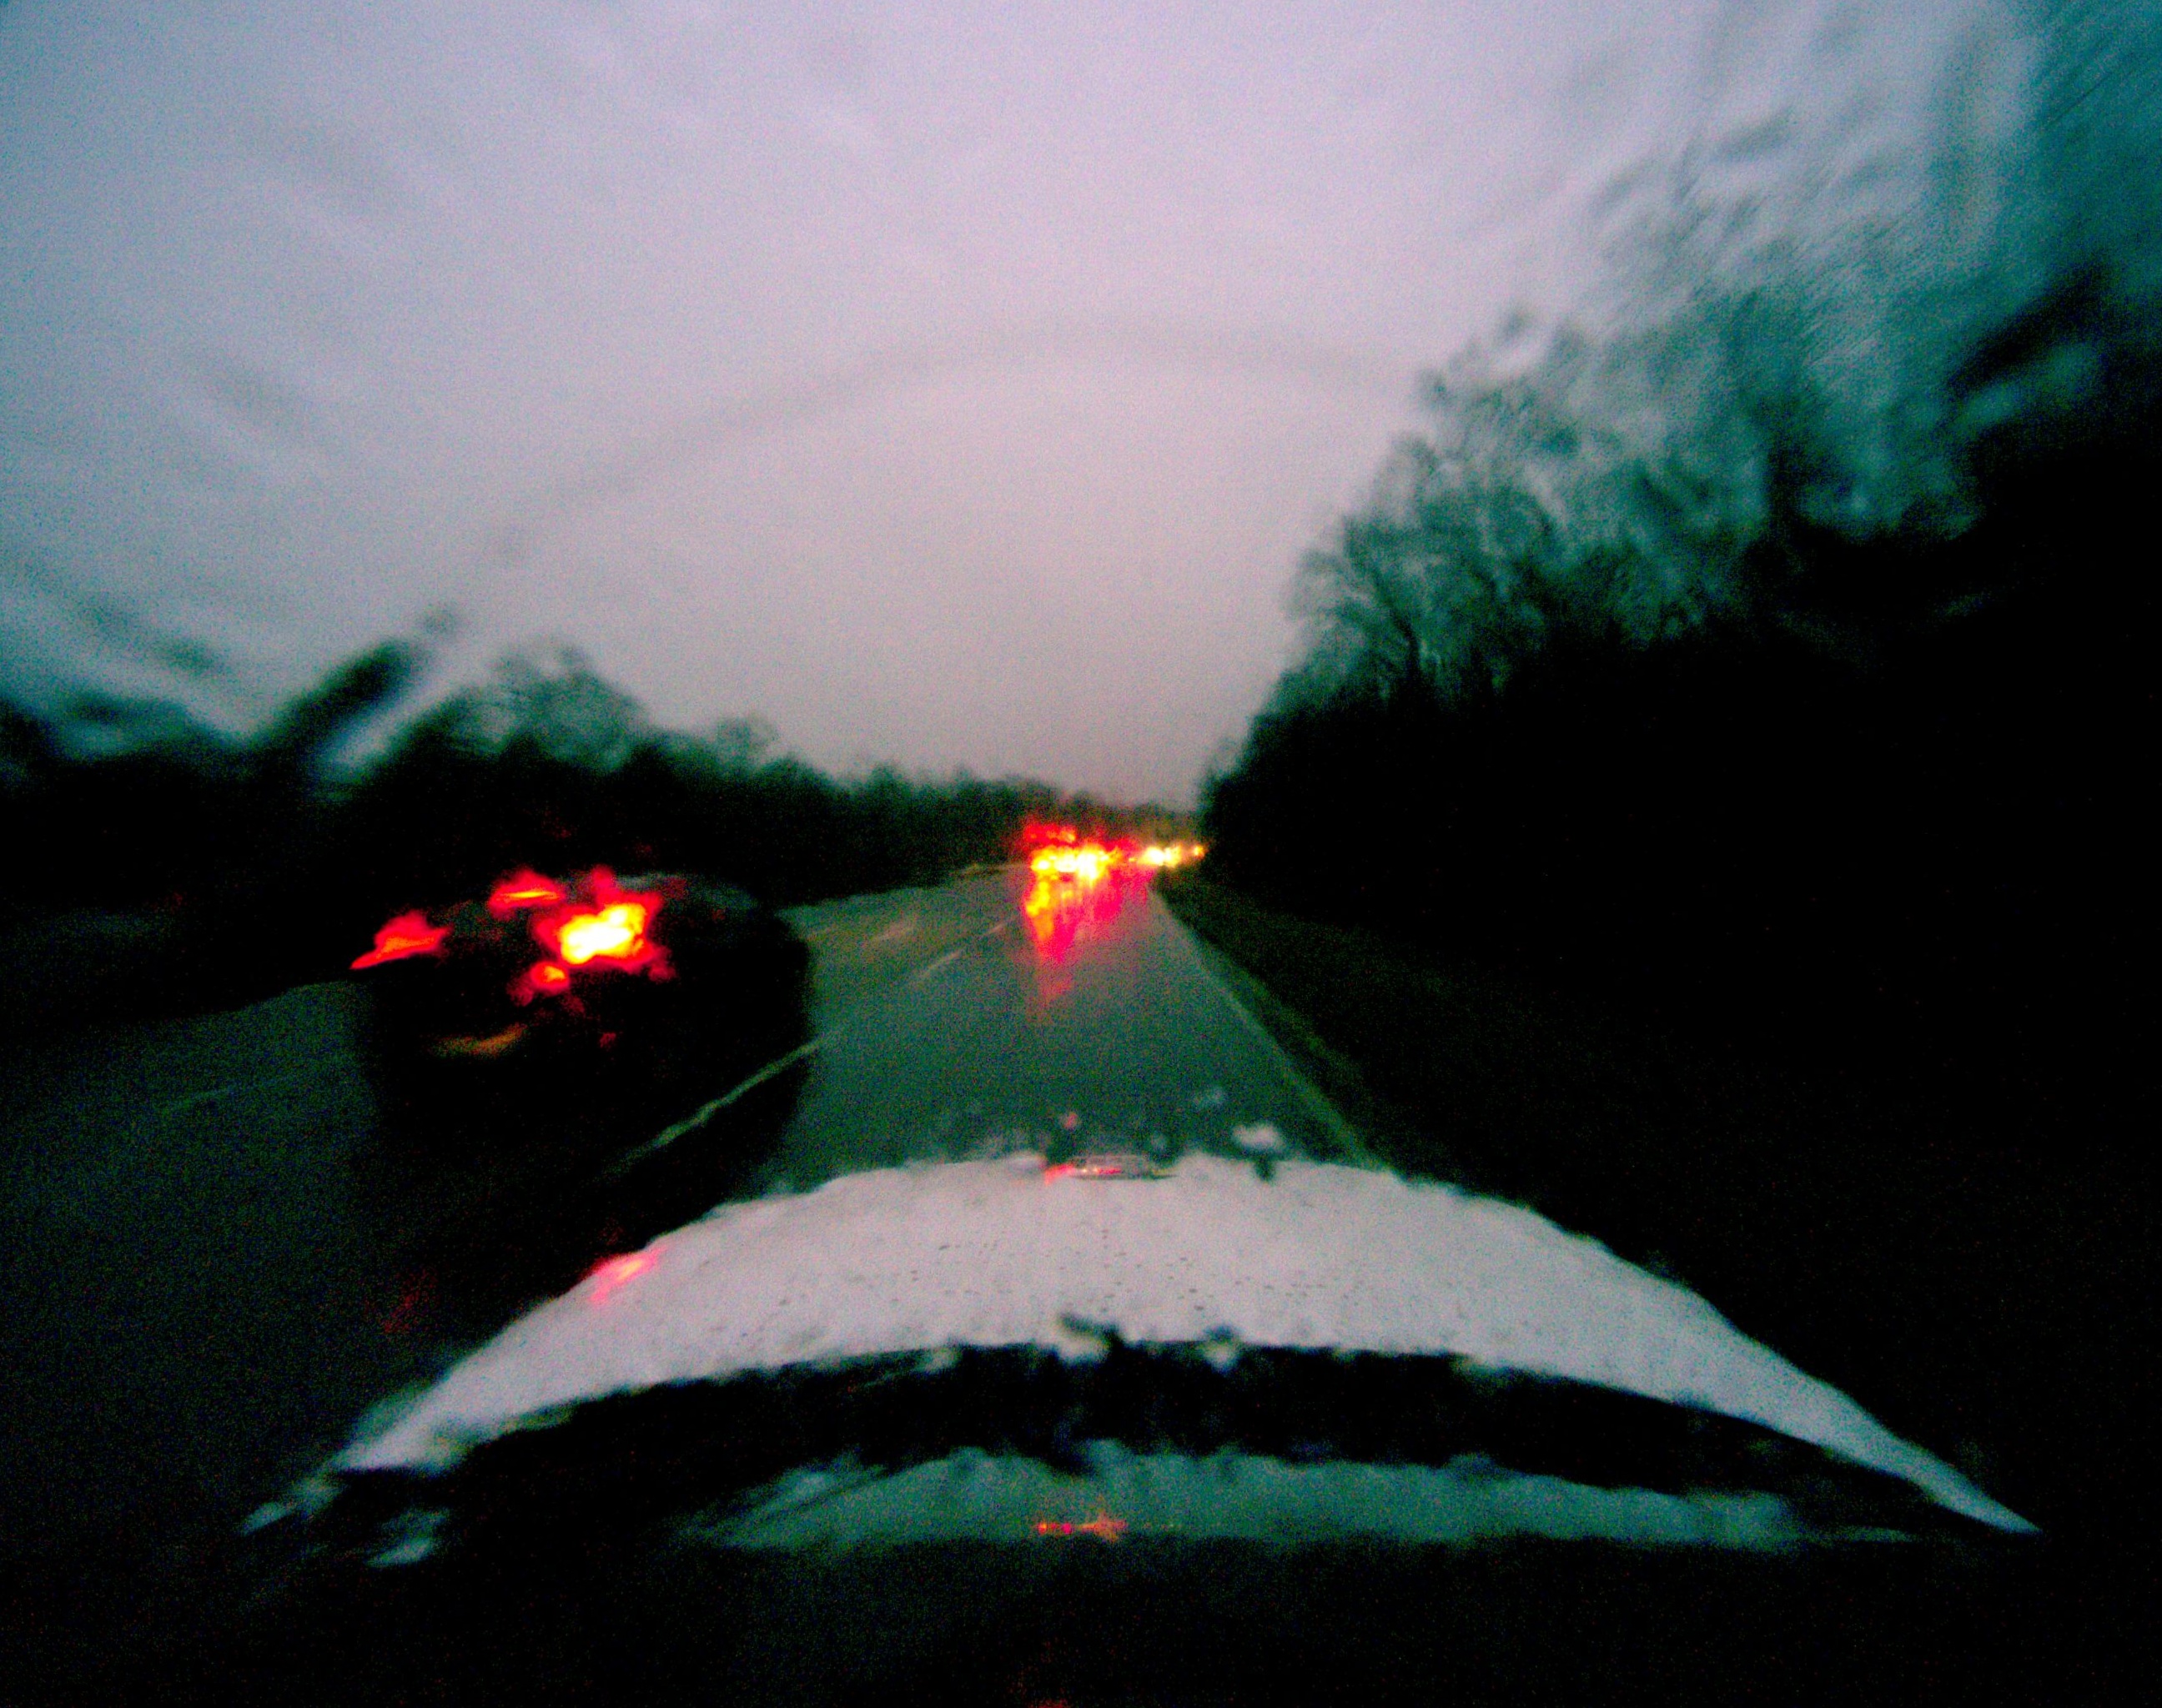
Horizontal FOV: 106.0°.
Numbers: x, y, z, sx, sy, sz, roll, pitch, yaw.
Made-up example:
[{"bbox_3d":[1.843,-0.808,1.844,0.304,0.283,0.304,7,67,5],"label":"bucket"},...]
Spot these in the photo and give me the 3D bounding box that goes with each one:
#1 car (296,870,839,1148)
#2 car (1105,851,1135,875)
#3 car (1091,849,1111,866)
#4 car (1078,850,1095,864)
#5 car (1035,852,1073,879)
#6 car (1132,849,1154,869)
[{"bbox_3d":[-3.397,0.881,6.495,1.626,1.421,4.171,0,0,1],"label":"car"},{"bbox_3d":[2.570,0.545,53.041,1.670,1.389,4.104,-2,1,5],"label":"car"},{"bbox_3d":[2.018,0.337,82.259,1.704,1.627,4.225,-1,0,6],"label":"car"},{"bbox_3d":[0.655,0.386,96.020,1.638,1.556,4.386,-1,0,5],"label":"car"},{"bbox_3d":[-1.622,0.698,50.341,1.997,1.556,4.520,-1,0,2],"label":"car"},{"bbox_3d":[5.757,0.428,75.506,1.669,1.675,4.109,-2,1,9],"label":"car"}]
